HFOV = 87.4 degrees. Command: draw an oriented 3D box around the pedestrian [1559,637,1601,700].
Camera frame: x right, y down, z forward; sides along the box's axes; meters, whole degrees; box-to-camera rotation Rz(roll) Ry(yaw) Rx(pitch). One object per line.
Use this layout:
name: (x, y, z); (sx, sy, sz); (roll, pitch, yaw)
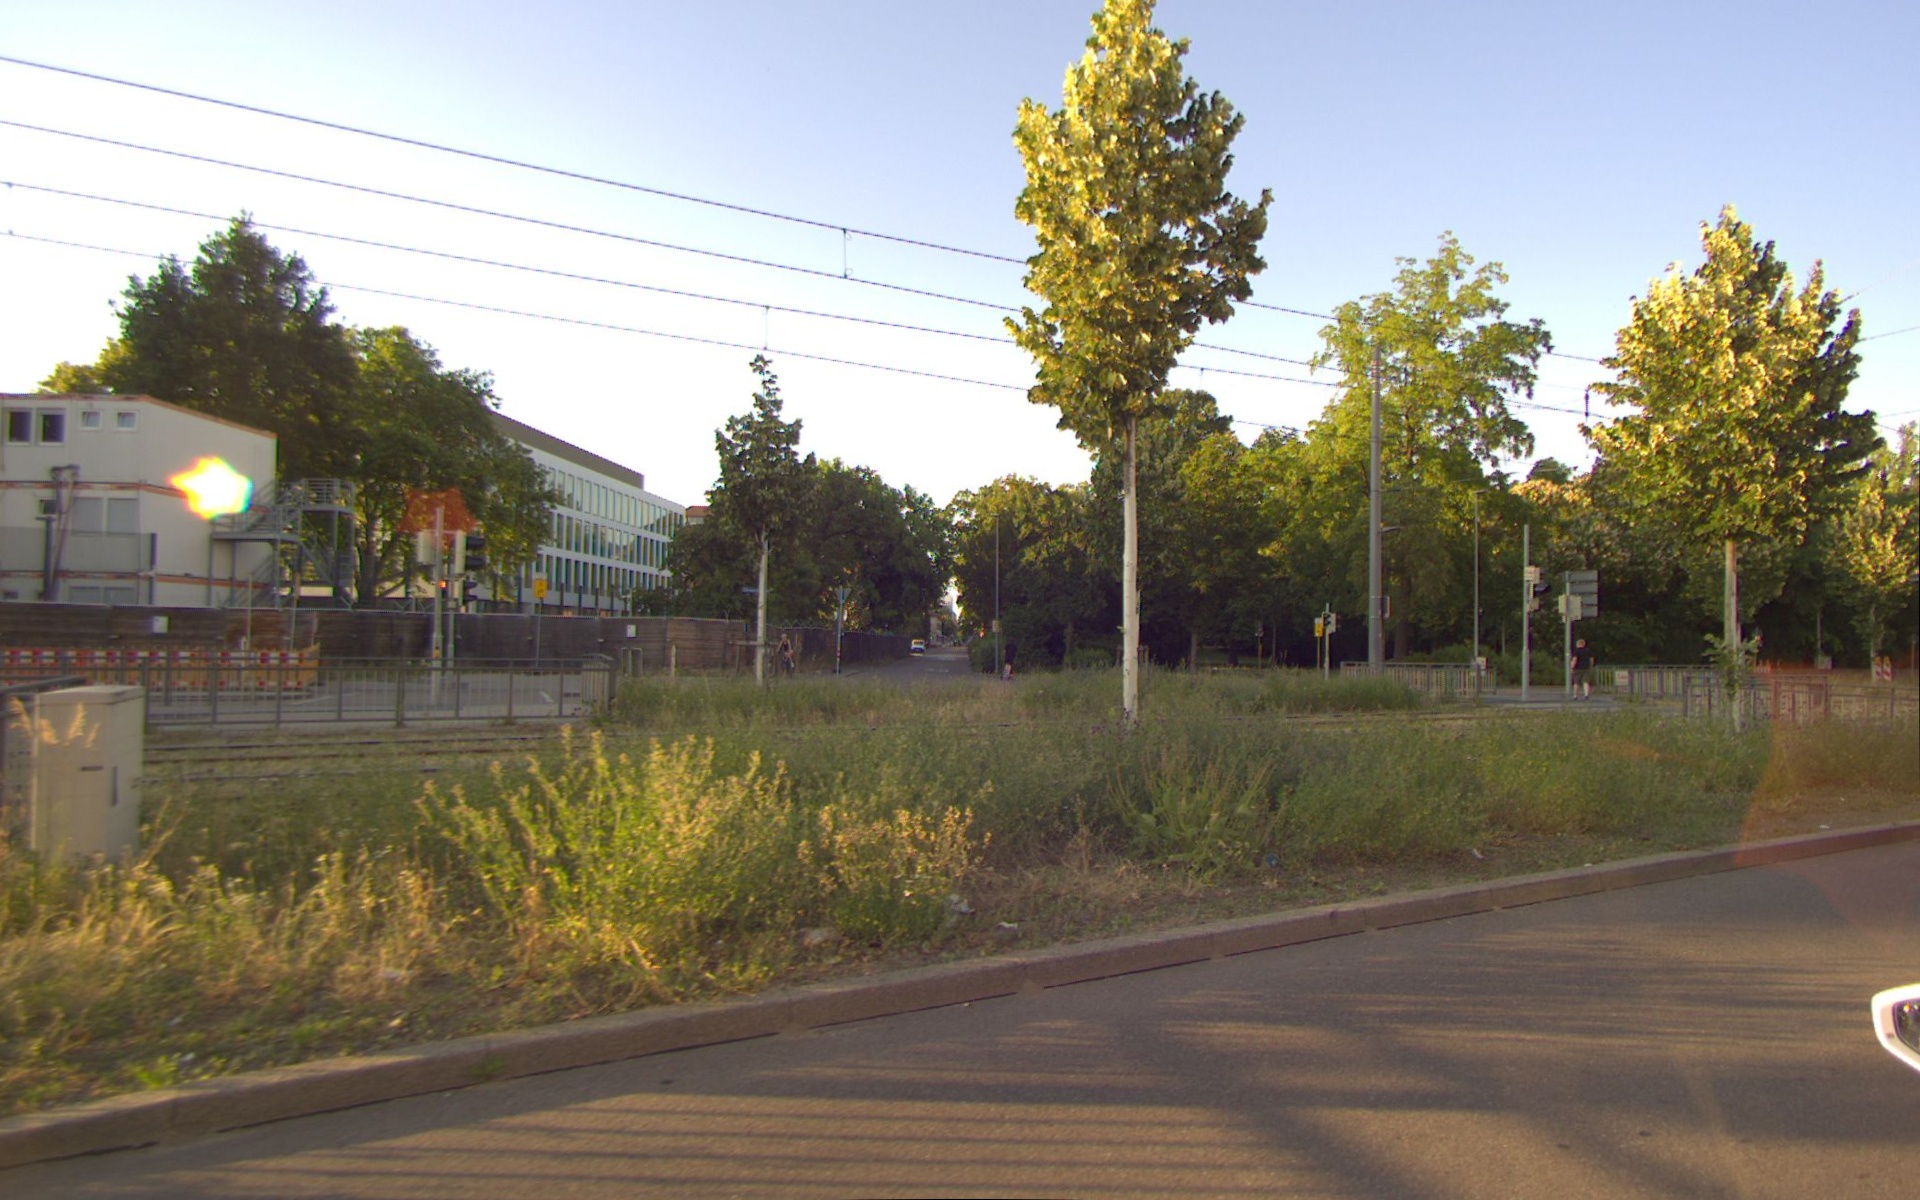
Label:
pedestrian: (16.898, 1.847, 27.385); (0.664, 1.629, 0.671); (-2, 1, -5)

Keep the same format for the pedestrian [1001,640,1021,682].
pedestrian: (2.431, 2.882, 47.883); (0.915, 1.911, 1.039); (2, 0, 3)

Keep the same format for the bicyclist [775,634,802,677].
bicyclist: (-6.829, 2.191, 40.077); (0.702, 1.642, 0.945); (2, 0, 15)

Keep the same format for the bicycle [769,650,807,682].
bicycle: (-6.844, 2.623, 40.068); (0.702, 1.148, 1.899); (2, 0, 15)
